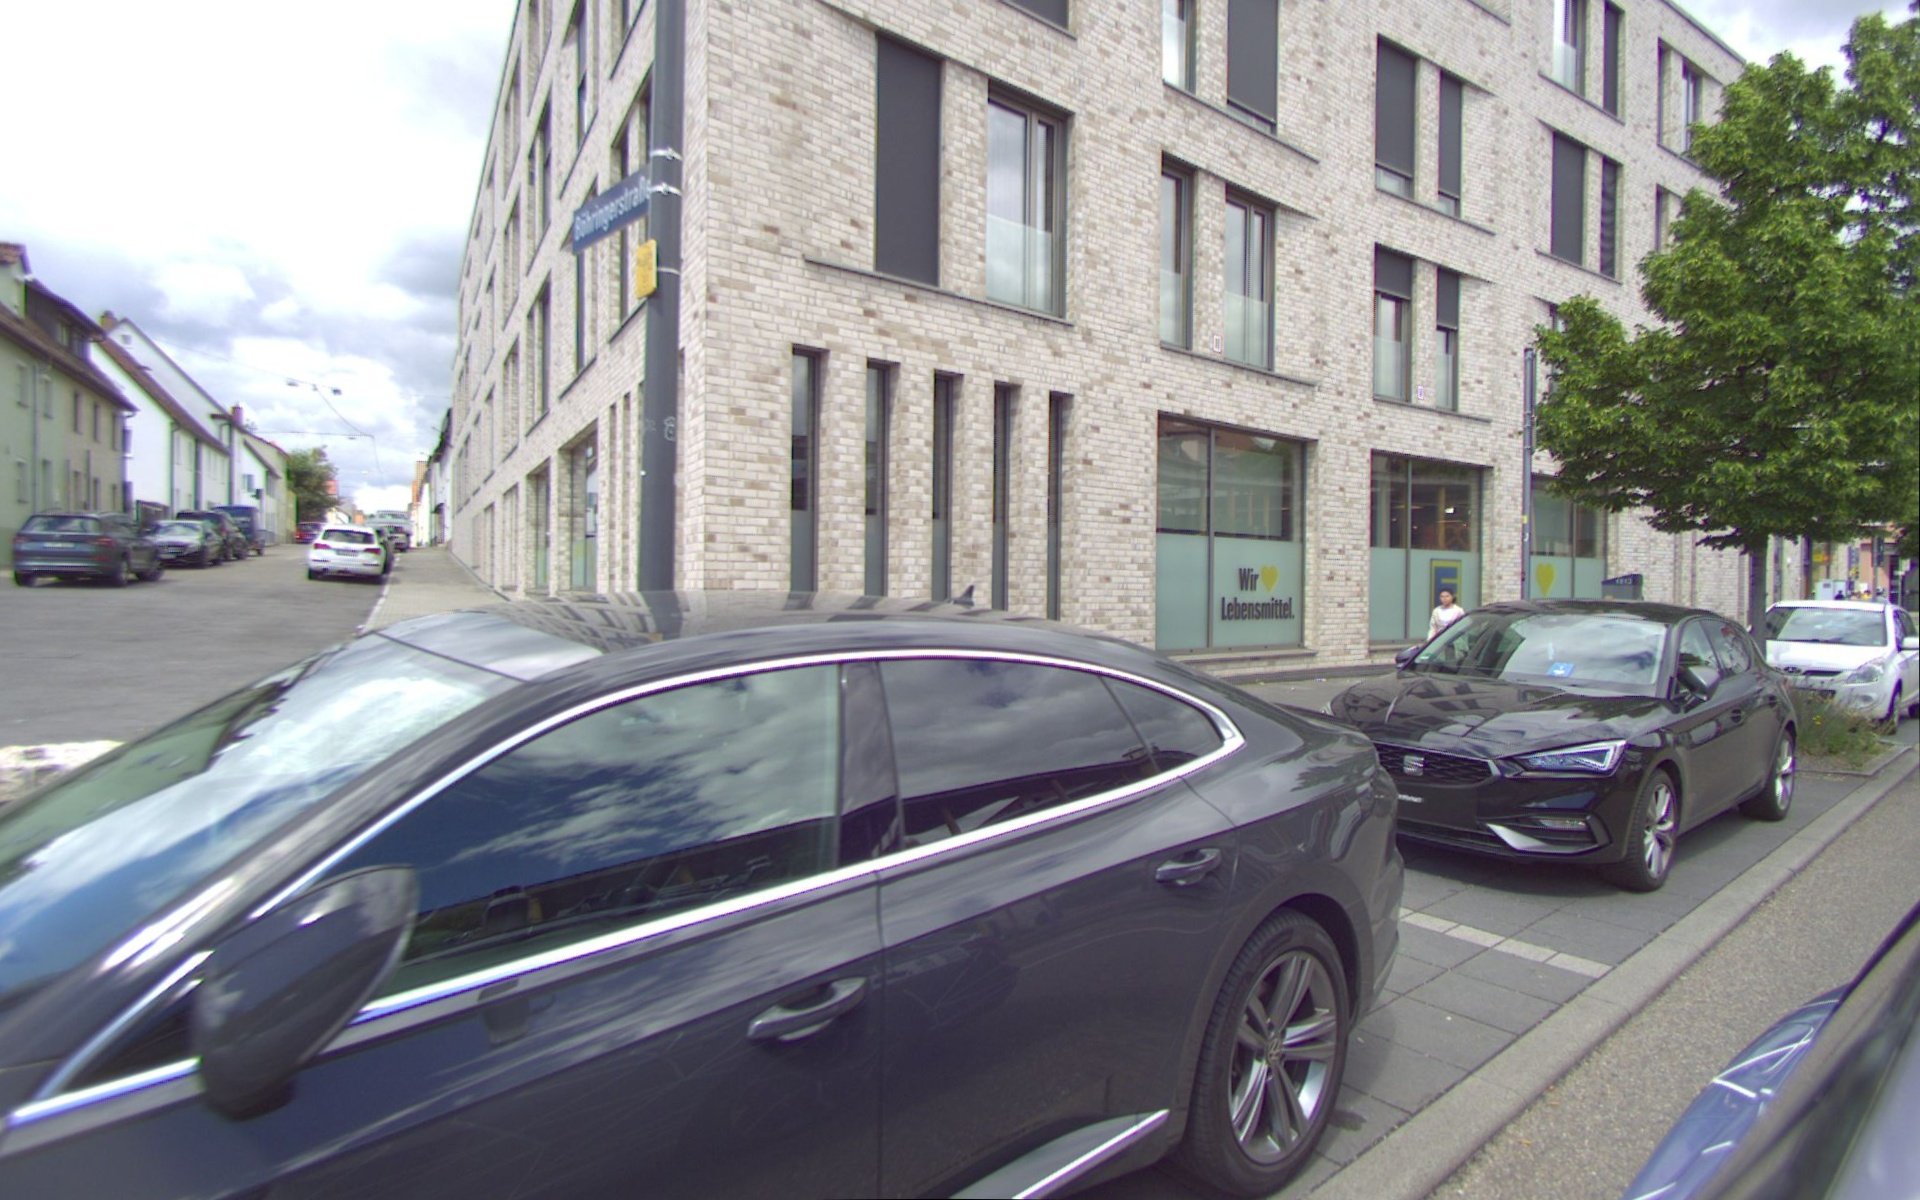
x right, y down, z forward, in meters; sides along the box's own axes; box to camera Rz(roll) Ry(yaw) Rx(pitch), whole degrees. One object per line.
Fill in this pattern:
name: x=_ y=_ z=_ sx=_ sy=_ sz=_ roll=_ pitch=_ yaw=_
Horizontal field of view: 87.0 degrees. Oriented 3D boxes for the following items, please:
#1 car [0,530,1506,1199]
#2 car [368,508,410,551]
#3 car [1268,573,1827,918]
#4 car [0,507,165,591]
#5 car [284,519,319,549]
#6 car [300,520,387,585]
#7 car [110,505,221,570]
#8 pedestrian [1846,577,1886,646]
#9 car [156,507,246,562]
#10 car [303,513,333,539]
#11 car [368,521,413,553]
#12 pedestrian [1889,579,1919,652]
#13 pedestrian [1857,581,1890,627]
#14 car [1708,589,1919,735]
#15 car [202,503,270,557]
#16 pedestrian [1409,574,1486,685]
car: x=-0.632 y=0.626 z=2.422 sx=4.561 sy=1.469 sz=1.869 roll=0 pitch=2 yaw=-41
car: x=-34.512 y=-4.259 z=61.288 sx=1.959 sy=2.360 sz=5.083 roll=4 pitch=2 yaw=-28
car: x=3.880 y=0.620 z=6.394 sx=4.072 sy=1.479 sz=1.697 roll=0 pitch=2 yaw=-39
car: x=-19.548 y=-1.167 z=22.684 sx=1.830 sy=1.625 sz=4.270 roll=2 pitch=3 yaw=-26
car: x=-49.195 y=-4.941 z=75.625 sx=1.788 sy=2.096 sz=4.007 roll=2 pitch=2 yaw=-28
car: x=-18.177 y=-1.449 z=29.992 sx=1.831 sy=1.625 sz=4.270 roll=4 pitch=2 yaw=-28
car: x=-24.328 y=-1.918 z=31.142 sx=1.959 sy=1.771 sz=4.008 roll=2 pitch=2 yaw=-28
pedestrian: x=24.040 y=0.287 z=26.858 sx=0.755 sy=1.788 sz=0.723 roll=1 pitch=2 yaw=44
car: x=-27.428 y=-2.354 z=36.717 sx=1.959 sy=1.771 sz=4.007 roll=2 pitch=2 yaw=-28
car: x=-54.150 y=-6.219 z=85.439 sx=1.788 sy=2.096 sz=4.007 roll=2 pitch=2 yaw=-28
car: x=-31.191 y=-3.457 z=55.533 sx=1.959 sy=1.571 sz=4.008 roll=4 pitch=2 yaw=-28
pedestrian: x=24.032 y=0.383 z=25.629 sx=0.725 sy=1.788 sz=0.623 roll=-1 pitch=2 yaw=-40
pedestrian: x=34.573 y=0.144 z=38.292 sx=0.620 sy=1.713 sz=0.660 roll=0 pitch=1 yaw=0
car: x=10.980 y=0.653 z=12.655 sx=3.729 sy=1.502 sz=1.697 roll=0 pitch=2 yaw=-39
car: x=-30.729 y=-2.969 z=43.069 sx=1.788 sy=2.096 sz=4.007 roll=2 pitch=2 yaw=-28
pedestrian: x=6.758 y=0.393 z=14.034 sx=0.775 sy=1.491 sz=0.610 roll=1 pitch=1 yaw=-32
